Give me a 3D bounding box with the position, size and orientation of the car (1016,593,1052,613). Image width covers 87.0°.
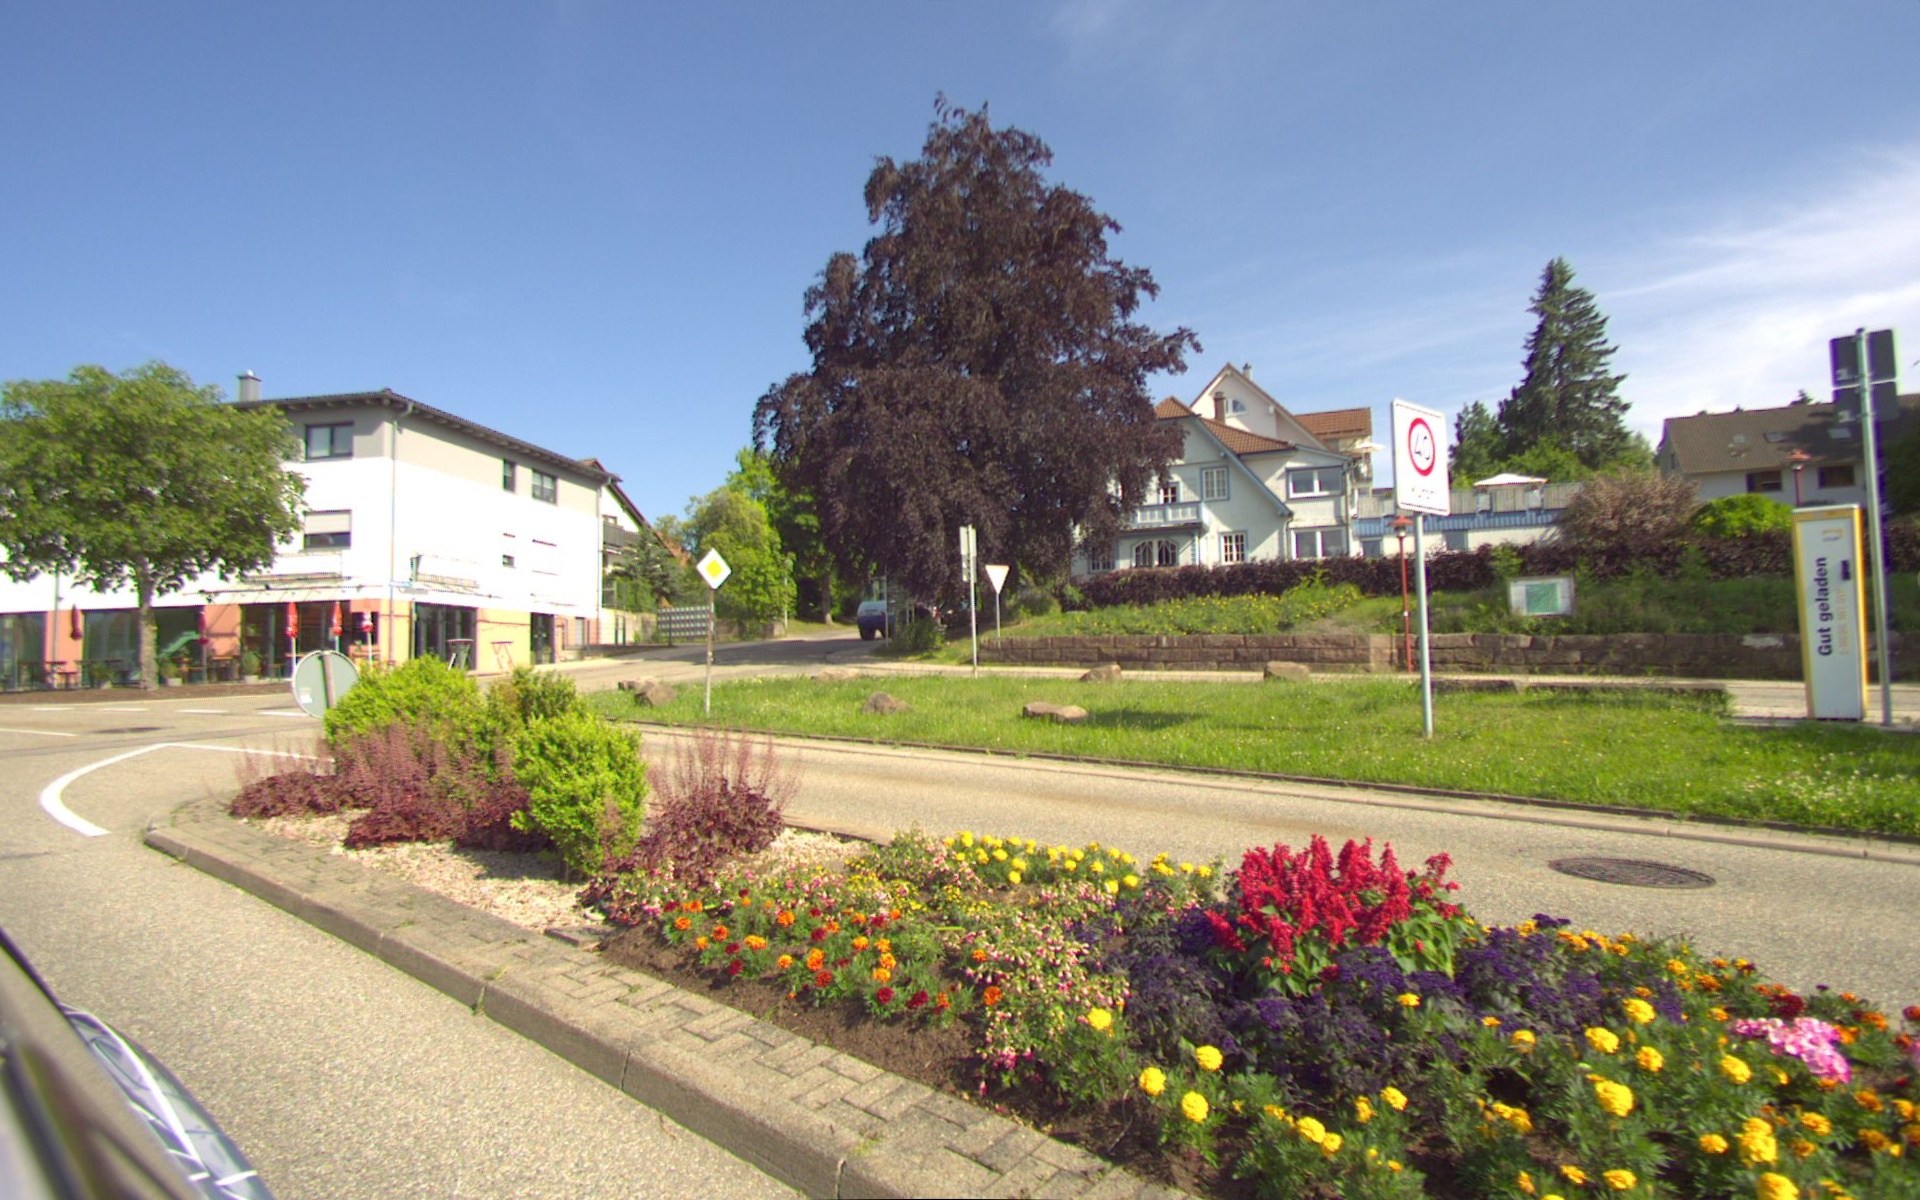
[{"bbox_3d":[5.997,0.250,81.570,1.764,1.481,3.783,-2,0,22],"label":"car"}]

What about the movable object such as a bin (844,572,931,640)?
[{"bbox_3d":[-3.123,0.248,44.834,1.984,2.790,5.074,-2,0,18],"label":"movable object such as a bin"}]
